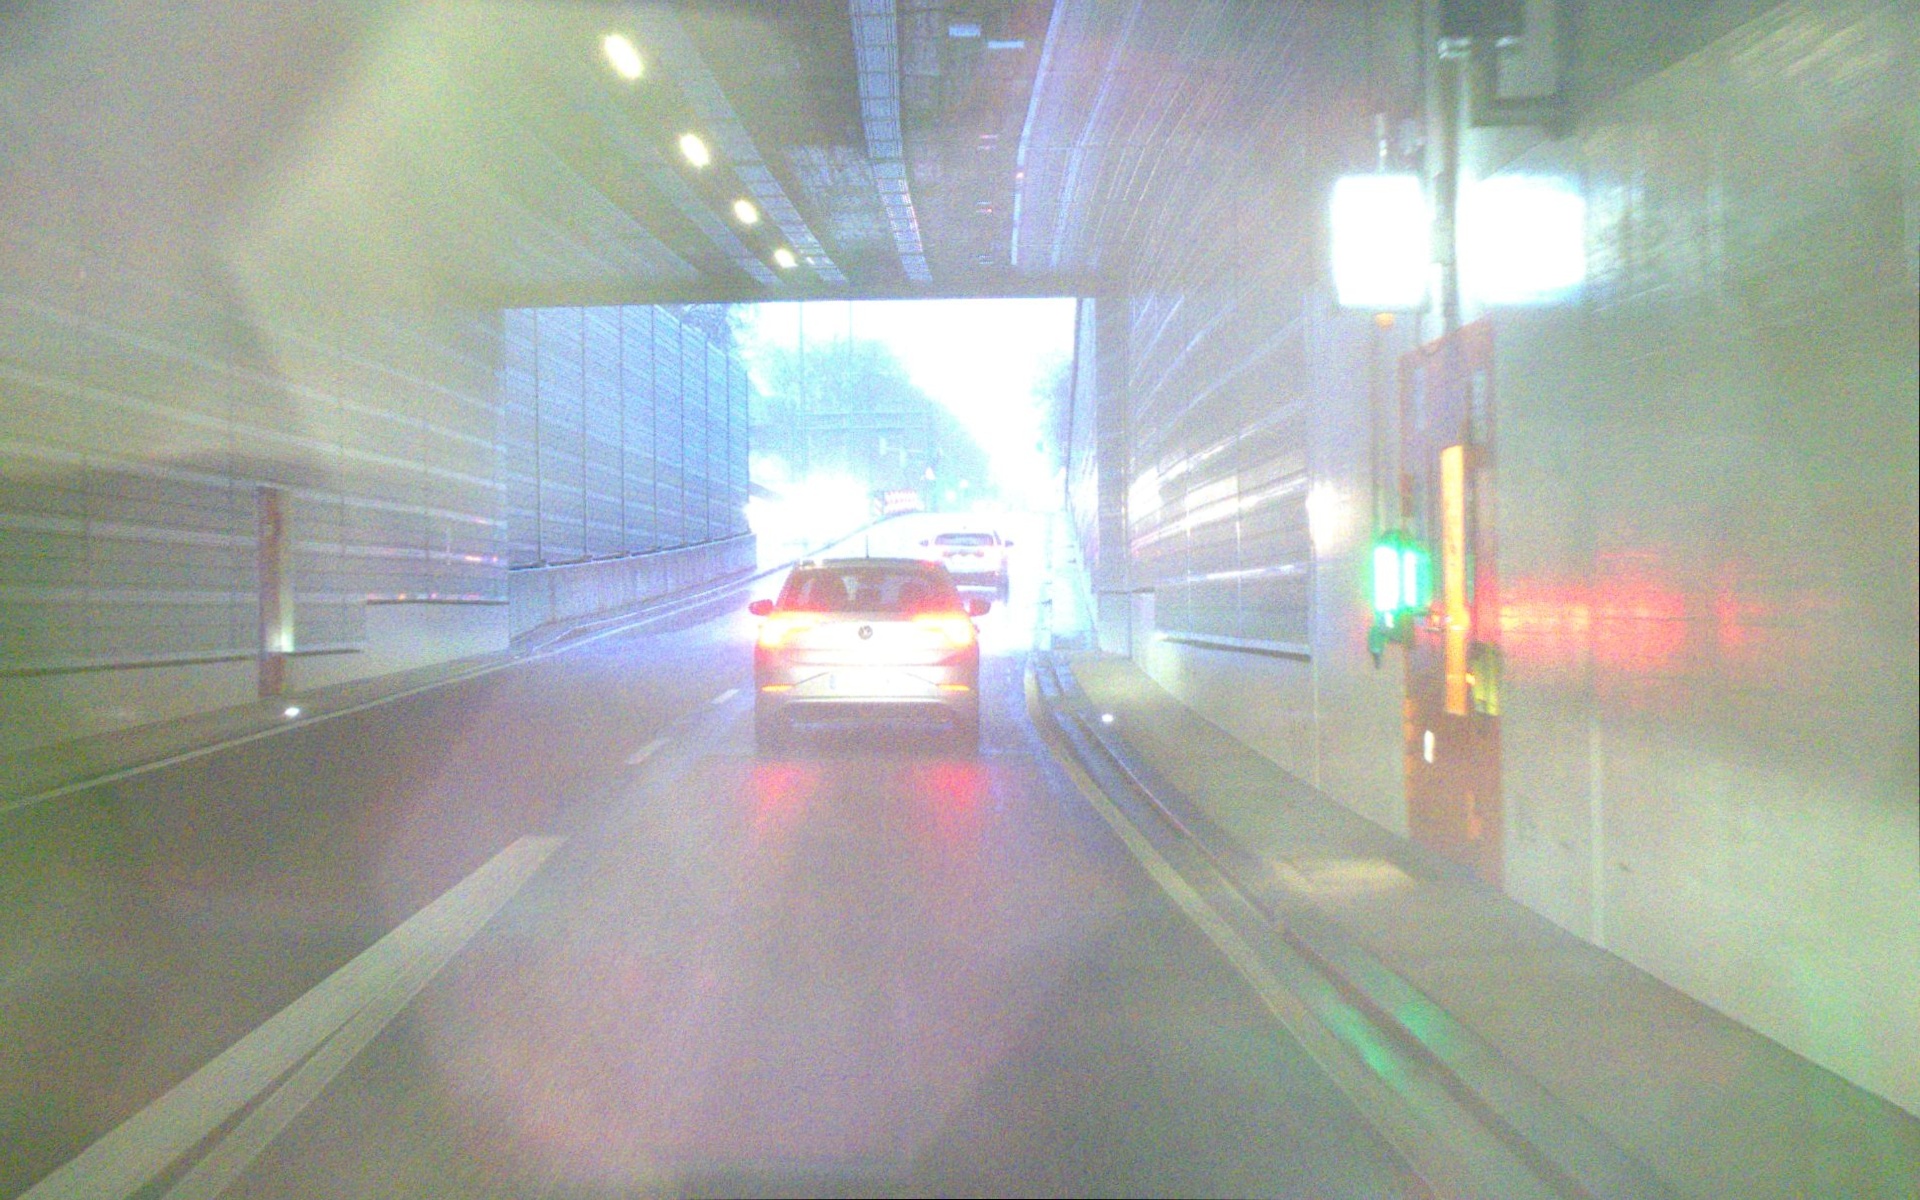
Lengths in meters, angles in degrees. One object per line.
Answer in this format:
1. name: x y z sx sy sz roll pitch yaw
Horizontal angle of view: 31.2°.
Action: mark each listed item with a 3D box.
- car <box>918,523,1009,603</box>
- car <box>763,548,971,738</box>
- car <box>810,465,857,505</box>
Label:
1. car: 0.050 -0.782 74.481 1.880 1.615 4.000 1 0 0
2. car: -0.730 0.303 27.234 1.532 1.392 3.434 1 0 -1
3. car: -5.785 -5.261 157.719 1.880 1.615 4.000 1 0 2
